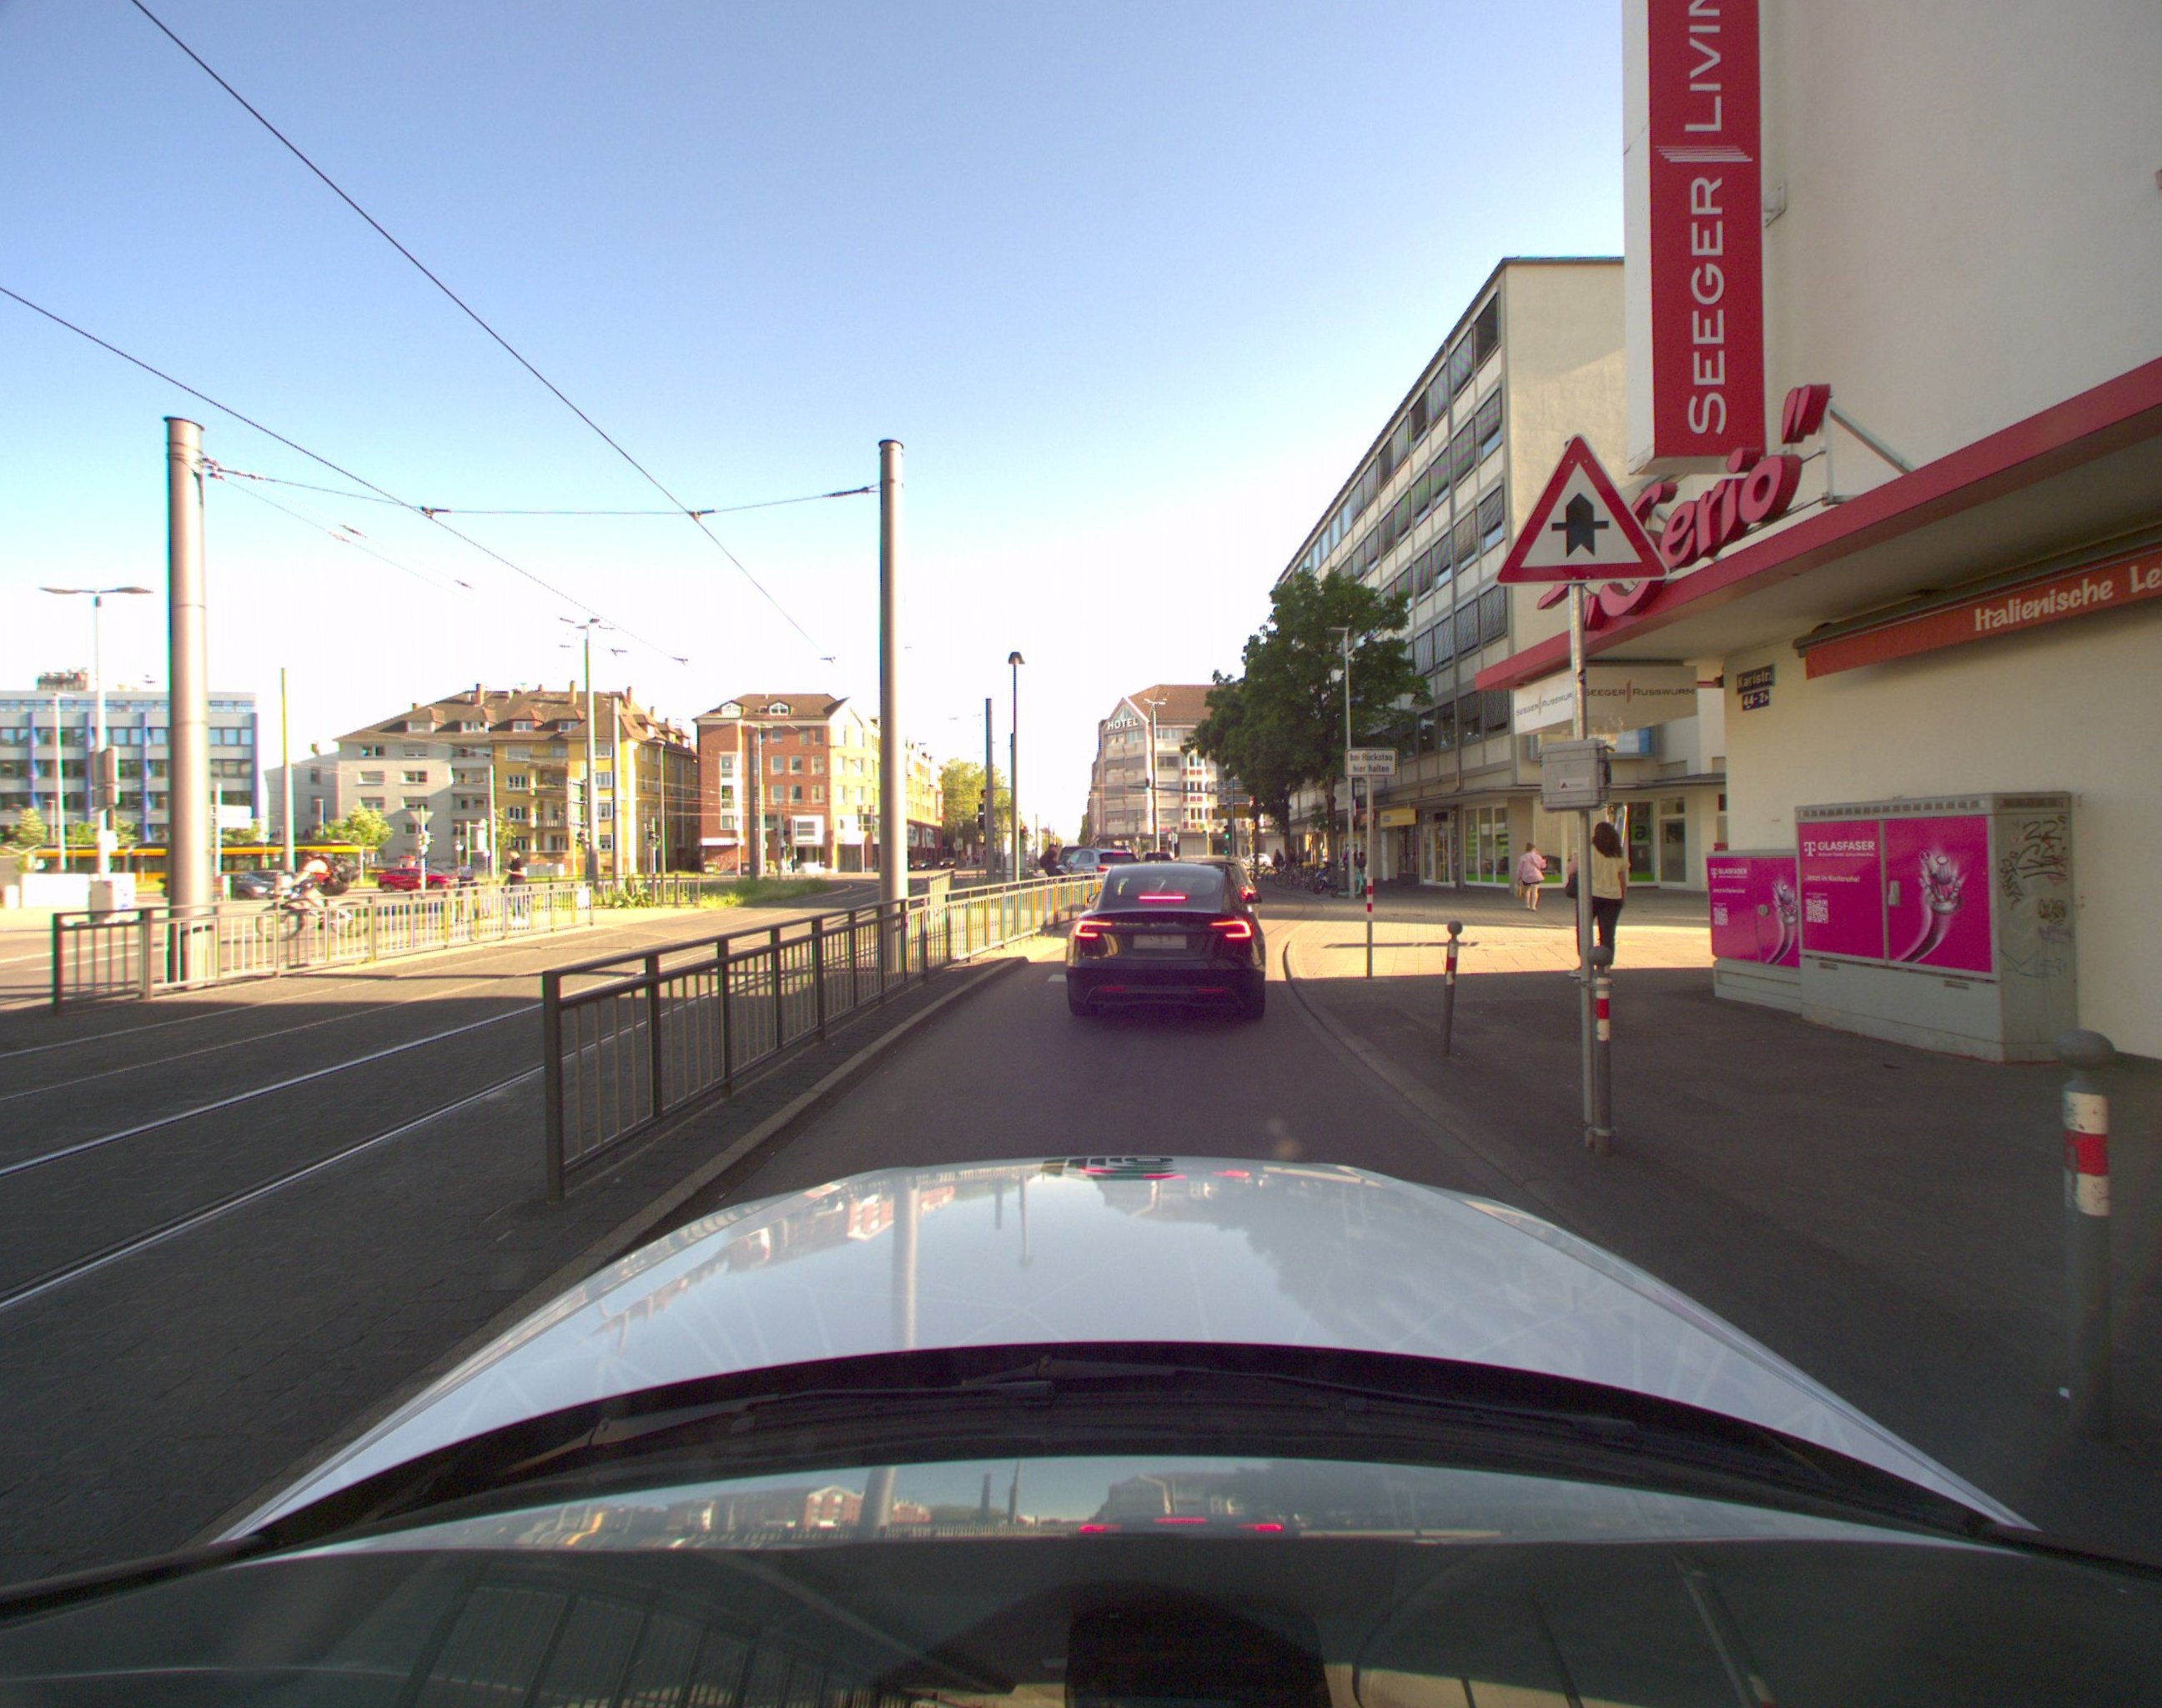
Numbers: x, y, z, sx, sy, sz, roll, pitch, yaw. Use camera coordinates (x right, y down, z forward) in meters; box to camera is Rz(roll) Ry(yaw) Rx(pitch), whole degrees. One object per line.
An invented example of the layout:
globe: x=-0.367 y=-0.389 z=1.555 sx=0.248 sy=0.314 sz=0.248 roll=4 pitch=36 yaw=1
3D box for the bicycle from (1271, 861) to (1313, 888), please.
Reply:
bicycle: x=8.617 y=0.846 z=33.327 sx=1.649 sy=1.099 sz=0.349 roll=0 pitch=-1 yaw=-9

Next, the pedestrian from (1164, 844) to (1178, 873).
pedestrian: x=6.368 y=0.319 z=57.779 sx=0.917 sy=2.014 sz=0.973 roll=0 pitch=-1 yaw=1

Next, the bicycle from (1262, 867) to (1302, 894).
bicycle: x=8.454 y=1.118 z=34.242 sx=1.649 sy=1.099 sz=0.349 roll=0 pitch=-1 yaw=-9

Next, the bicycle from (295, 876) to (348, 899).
bicycle: x=-42.609 y=1.875 z=45.689 sx=2.188 sy=1.214 sz=0.544 roll=0 pitch=-1 yaw=-11

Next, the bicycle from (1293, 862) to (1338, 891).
bicycle: x=8.895 y=0.858 z=30.946 sx=1.649 sy=1.099 sz=0.349 roll=0 pitch=-1 yaw=-9

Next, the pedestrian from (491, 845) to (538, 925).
pedestrian: x=-12.270 y=0.657 z=17.651 sx=0.591 sy=1.681 sz=0.770 roll=0 pitch=-1 yaw=-14

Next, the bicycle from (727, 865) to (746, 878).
bicycle: x=-26.084 y=1.332 z=61.639 sx=0.445 sy=0.972 sz=2.247 roll=0 pitch=-1 yaw=2

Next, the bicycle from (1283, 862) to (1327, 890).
bicycle: x=8.731 y=0.858 z=31.796 sx=1.649 sy=1.099 sz=0.349 roll=0 pitch=-1 yaw=-9

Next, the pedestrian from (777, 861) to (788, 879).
pedestrian: x=-29.913 y=1.569 z=81.626 sx=0.780 sy=1.820 sz=0.747 roll=0 pitch=-1 yaw=3

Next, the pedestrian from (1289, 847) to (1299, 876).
pedestrian: x=12.485 y=0.450 z=47.705 sx=0.523 sy=1.710 sz=0.404 roll=0 pitch=-1 yaw=6

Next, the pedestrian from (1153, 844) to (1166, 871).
pedestrian: x=5.904 y=0.298 z=61.262 sx=0.917 sy=2.014 sz=0.973 roll=0 pitch=-1 yaw=1

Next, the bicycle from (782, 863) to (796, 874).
bicycle: x=-26.866 y=1.362 z=74.943 sx=0.402 sy=0.981 sz=1.699 roll=-1 pitch=-1 yaw=10

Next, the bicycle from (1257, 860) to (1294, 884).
bicycle: x=9.140 y=0.835 z=38.220 sx=1.643 sy=1.099 sz=0.350 roll=0 pitch=-1 yaw=3

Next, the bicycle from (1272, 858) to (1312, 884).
bicycle: x=9.118 y=0.751 z=35.267 sx=1.643 sy=1.099 sz=0.350 roll=0 pitch=-1 yaw=3

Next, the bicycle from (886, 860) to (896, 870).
bicycle: x=-22.441 y=1.277 z=96.381 sx=0.535 sy=1.088 sz=2.226 roll=0 pitch=-1 yaw=3

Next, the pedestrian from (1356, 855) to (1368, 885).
pedestrian: x=12.414 y=0.701 z=35.956 sx=0.388 sy=1.343 sz=0.513 roll=0 pitch=-1 yaw=4

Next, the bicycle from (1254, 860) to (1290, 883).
bicycle: x=9.205 y=0.840 z=39.246 sx=1.643 sy=1.099 sz=0.350 roll=0 pitch=-1 yaw=3

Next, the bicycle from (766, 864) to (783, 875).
bicycle: x=-25.821 y=1.299 z=68.586 sx=0.522 sy=0.972 sz=2.247 roll=0 pitch=-1 yaw=2

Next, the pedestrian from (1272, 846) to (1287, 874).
pedestrian: x=11.547 y=0.348 z=47.414 sx=0.697 sy=1.662 sz=0.777 roll=0 pitch=-1 yaw=1

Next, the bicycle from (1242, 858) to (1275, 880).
bicycle: x=9.245 y=0.790 z=42.401 sx=1.643 sy=1.099 sz=0.350 roll=0 pitch=-1 yaw=3

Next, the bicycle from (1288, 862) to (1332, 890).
bicycle: x=8.817 y=0.858 z=31.370 sx=1.649 sy=1.061 sz=0.349 roll=0 pitch=-1 yaw=-9

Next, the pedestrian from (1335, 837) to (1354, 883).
pedestrian: x=11.679 y=0.265 z=36.099 sx=0.659 sy=2.014 sz=0.580 roll=0 pitch=-1 yaw=4

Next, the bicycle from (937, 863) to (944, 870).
bicycle: x=-23.226 y=2.092 z=134.771 sx=0.527 sy=1.088 sz=2.227 roll=0 pitch=-1 yaw=4

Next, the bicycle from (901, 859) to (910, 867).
bicycle: x=-22.393 y=1.142 z=104.007 sx=0.527 sy=1.088 sz=2.286 roll=-2 pitch=-1 yaw=4

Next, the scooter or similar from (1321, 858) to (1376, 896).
scooter or similar: x=8.898 y=0.762 z=27.107 sx=1.625 sy=1.215 sz=0.649 roll=-1 pitch=-1 yaw=32

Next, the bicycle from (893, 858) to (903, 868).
bicycle: x=-22.663 y=1.133 z=100.663 sx=0.527 sy=1.089 sz=2.286 roll=3 pitch=-1 yaw=4

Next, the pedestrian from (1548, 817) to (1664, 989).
pedestrian: x=5.711 y=0.499 z=8.931 sx=0.906 sy=1.752 sz=1.044 roll=-1 pitch=0 yaw=25

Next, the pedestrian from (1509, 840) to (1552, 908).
pedestrian: x=11.268 y=0.488 z=20.462 sx=0.881 sy=1.667 sz=0.813 roll=-1 pitch=-1 yaw=25

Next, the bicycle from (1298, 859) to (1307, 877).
bicycle: x=12.850 y=0.805 z=47.267 sx=0.330 sy=1.034 sz=1.259 roll=-1 pitch=-1 yaw=9

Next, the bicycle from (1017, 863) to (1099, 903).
bicycle: x=-0.619 y=0.774 z=22.633 sx=2.346 sy=1.053 sz=0.624 roll=0 pitch=-1 yaw=-36

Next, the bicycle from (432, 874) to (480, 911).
bicycle: x=-22.044 y=1.337 z=28.758 sx=0.483 sy=1.222 sz=1.850 roll=0 pitch=-1 yaw=-7
